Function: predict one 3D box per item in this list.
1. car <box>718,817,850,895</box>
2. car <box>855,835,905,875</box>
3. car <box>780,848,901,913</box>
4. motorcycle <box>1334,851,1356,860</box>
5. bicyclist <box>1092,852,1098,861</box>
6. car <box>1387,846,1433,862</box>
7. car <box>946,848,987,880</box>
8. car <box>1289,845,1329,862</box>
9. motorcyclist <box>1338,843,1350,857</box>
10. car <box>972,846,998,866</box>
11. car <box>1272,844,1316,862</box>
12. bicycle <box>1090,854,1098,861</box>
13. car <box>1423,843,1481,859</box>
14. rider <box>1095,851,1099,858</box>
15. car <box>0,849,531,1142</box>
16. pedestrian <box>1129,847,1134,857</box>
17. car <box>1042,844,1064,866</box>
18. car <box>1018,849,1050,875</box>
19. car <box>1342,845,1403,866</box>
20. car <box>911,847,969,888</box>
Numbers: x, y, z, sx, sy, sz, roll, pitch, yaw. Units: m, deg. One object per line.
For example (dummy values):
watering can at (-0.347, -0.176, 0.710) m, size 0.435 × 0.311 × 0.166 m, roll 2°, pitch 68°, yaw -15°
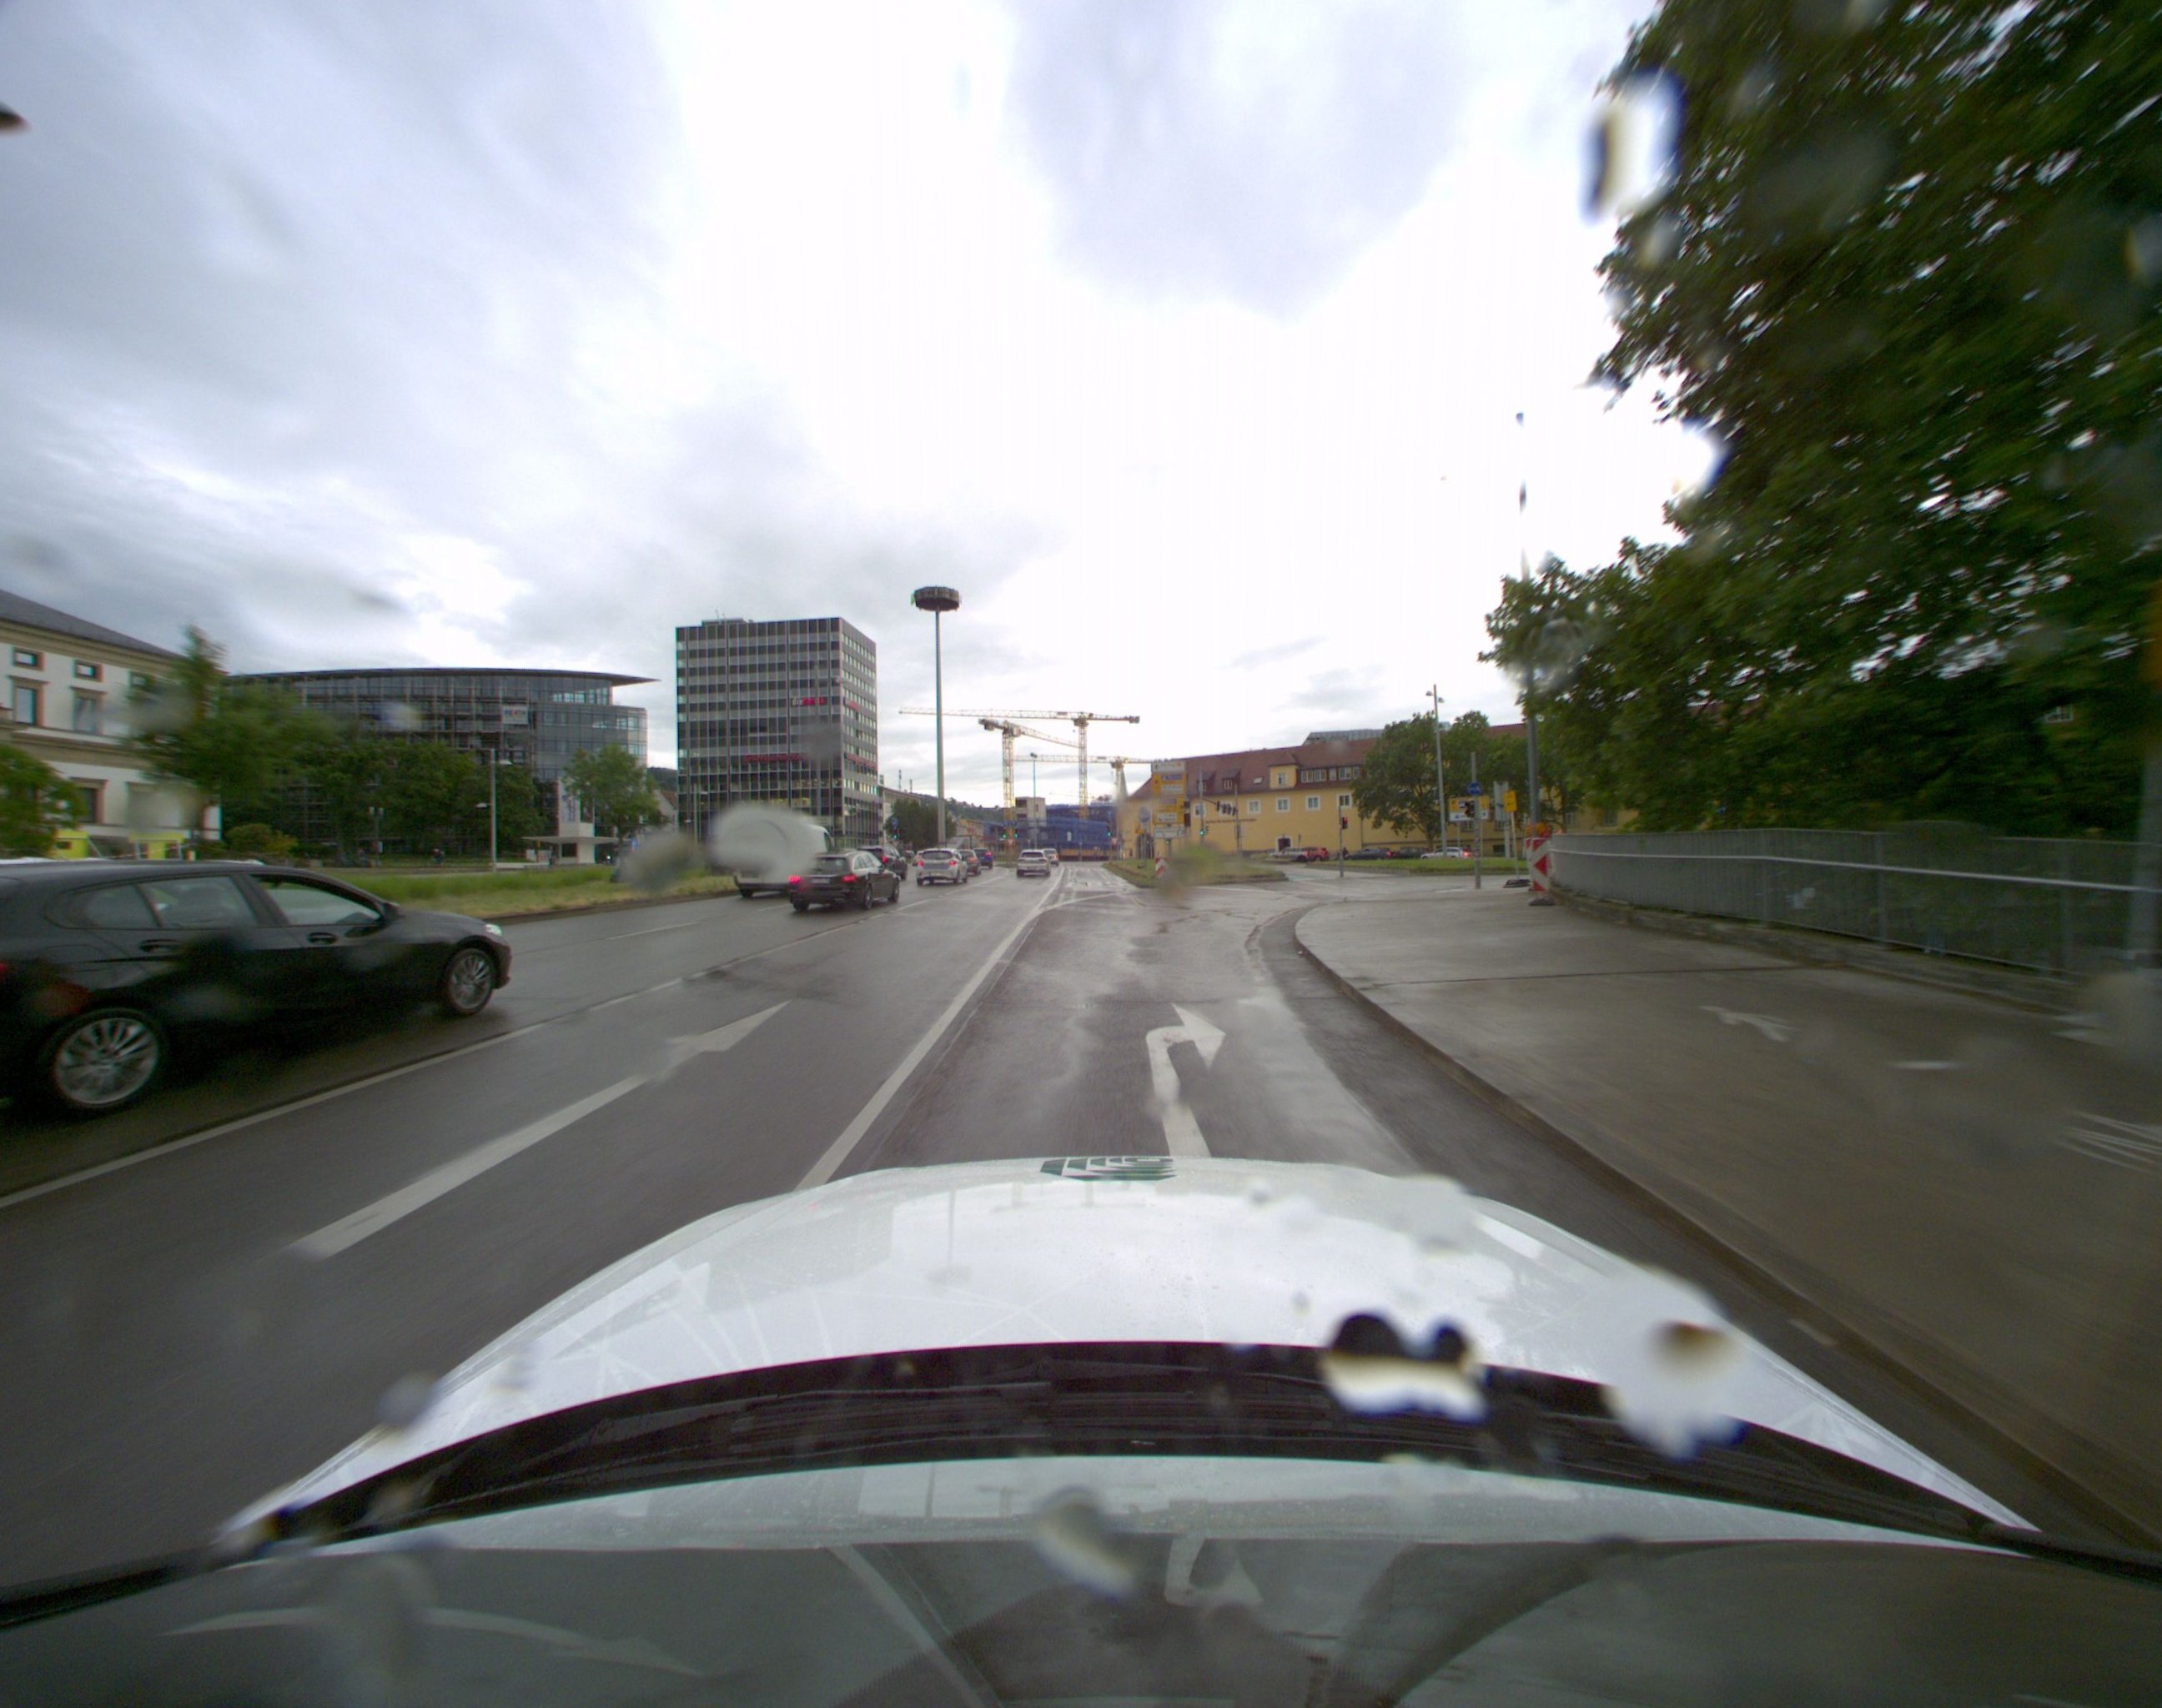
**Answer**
car at (-9.563, 0.153, 26.771) m, size 2.283 × 2.314 × 5.007 m, roll 0°, pitch -2°, yaw 2°
car at (-8.991, 0.094, 36.640) m, size 1.459 × 1.706 × 3.140 m, roll 0°, pitch -2°, yaw 0°
car at (-5.904, 0.601, 20.398) m, size 1.822 × 1.494 × 3.402 m, roll 0°, pitch 0°, yaw 4°
motorcycle at (25.409, 0.160, 78.294) m, size 1.946 × 0.853 × 0.549 m, roll -1°, pitch -2°, yaw 23°
bicyclist at (2.181, 0.391, 126.351) m, size 0.705 × 1.275 × 0.631 m, roll 0°, pitch -2°, yaw -14°
car at (30.187, -0.024, 74.700) m, size 3.560 × 1.337 × 1.587 m, roll -2°, pitch -3°, yaw 37°
car at (-6.319, 0.582, 45.297) m, size 1.710 × 1.728 × 3.495 m, roll 0°, pitch -2°, yaw 1°
car at (21.612, -0.055, 77.106) m, size 3.368 × 1.472 × 1.662 m, roll -1°, pitch -2°, yaw 25°
motorcyclist at (25.251, -0.370, 78.215) m, size 1.066 × 1.273 × 0.695 m, roll -1°, pitch -2°, yaw 22°
car at (-7.025, 0.199, 59.768) m, size 1.488 × 1.369 × 3.033 m, roll 0°, pitch -2°, yaw 1°
car at (18.861, -0.081, 72.061) m, size 3.370 × 1.482 × 1.846 m, roll -1°, pitch -2°, yaw 27°
bicycle at (1.998, 0.540, 126.749) m, size 0.881 × 1.010 × 1.983 m, roll 0°, pitch -2°, yaw -14°
car at (31.265, -0.220, 68.721) m, size 1.547 × 1.140 × 4.335 m, roll 1°, pitch -2°, yaw -31°
rider at (2.692, 0.068, 136.605) m, size 0.616 × 1.038 × 0.534 m, roll 0°, pitch -2°, yaw 3°
car at (-6.294, 0.722, 5.872) m, size 1.747 × 1.471 × 4.222 m, roll 0°, pitch 0°, yaw 0°
pedestrian at (6.834, -0.267, 109.538) m, size 0.450 × 1.368 × 0.447 m, roll -2°, pitch -3°, yaw 40°
car at (-2.336, 0.091, 67.286) m, size 1.664 × 1.741 × 3.282 m, roll 0°, pitch 1°, yaw -5°
car at (-2.542, 0.447, 44.470) m, size 1.437 × 1.359 × 2.414 m, roll 0°, pitch -2°, yaw 5°
car at (26.146, 0.184, 73.227) m, size 4.757 × 1.709 × 2.012 m, roll -2°, pitch -3°, yaw 44°
car at (-5.840, 0.593, 34.106) m, size 1.875 × 1.653 × 3.455 m, roll 0°, pitch -2°, yaw -1°
